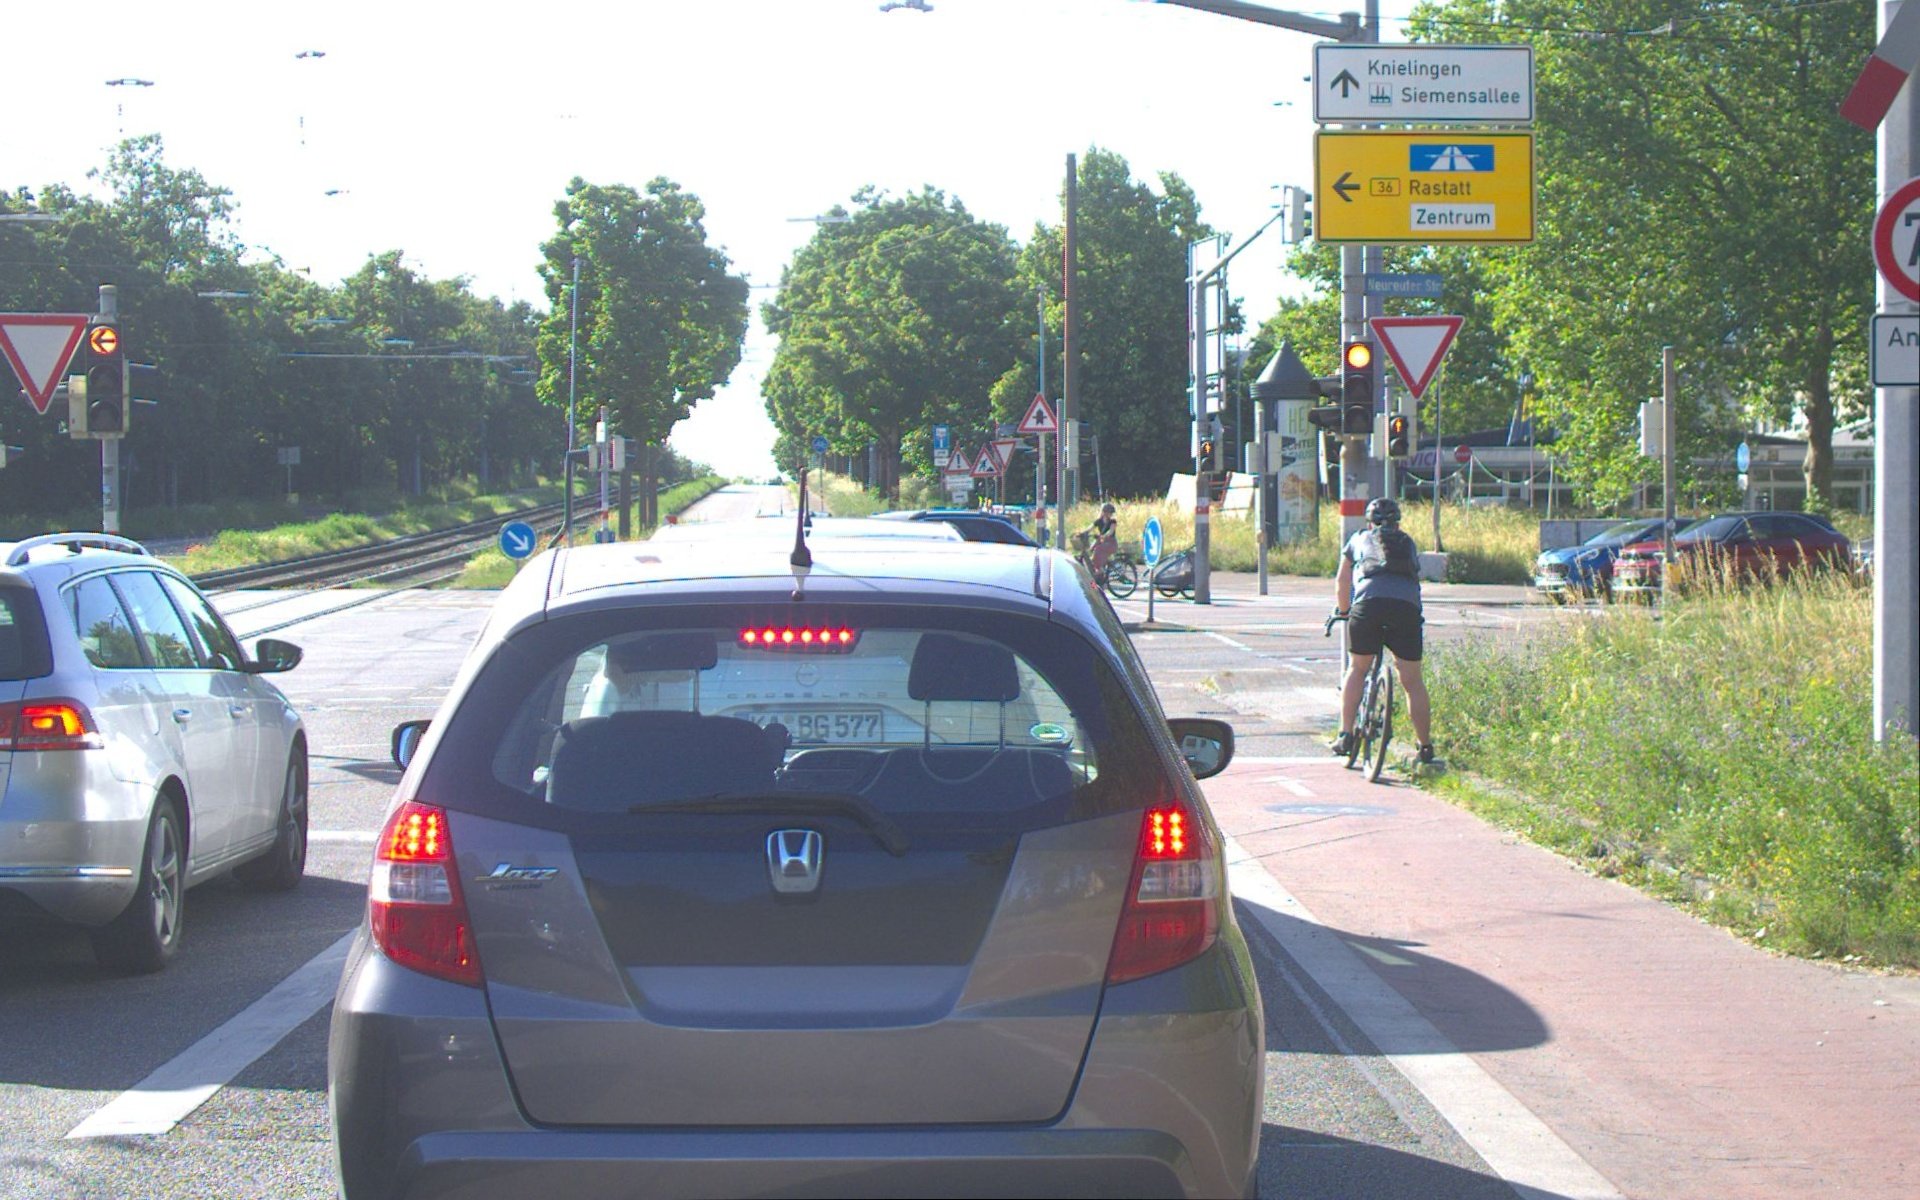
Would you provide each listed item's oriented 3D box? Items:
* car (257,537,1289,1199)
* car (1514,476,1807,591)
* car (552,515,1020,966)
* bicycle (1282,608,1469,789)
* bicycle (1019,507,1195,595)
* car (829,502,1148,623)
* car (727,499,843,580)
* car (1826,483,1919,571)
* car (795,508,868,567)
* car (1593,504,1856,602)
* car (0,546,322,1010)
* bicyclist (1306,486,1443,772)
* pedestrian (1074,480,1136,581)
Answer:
[{"bbox_3d":[-0.390,0.598,7.369,1.668,1.457,3.587,0,1,-3],"label":"car"},{"bbox_3d":[12.279,-1.147,60.261,4.686,1.873,2.001,1,1,-23],"label":"car"},{"bbox_3d":[-0.644,0.446,14.004,1.611,1.557,4.288,0,1,-1],"label":"car"},{"bbox_3d":[2.532,0.573,21.258,0.722,0.985,2.876,1,1,-1],"label":"bicycle"},{"bbox_3d":[2.700,-0.907,62.909,3.203,1.569,0.821,-1,1,-25],"label":"bicycle"},{"bbox_3d":[0.390,-0.520,45.782,3.970,1.539,1.592,-1,1,-30],"label":"car"},{"bbox_3d":[-3.288,-1.156,65.299,1.710,1.473,4.000,0,1,4],"label":"car"},{"bbox_3d":[17.909,-1.354,63.122,3.742,1.564,1.491,-1,1,-23],"label":"car"},{"bbox_3d":[-3.077,-1.488,81.675,1.522,1.374,3.677,0,1,-5],"label":"car"},{"bbox_3d":[12.451,-0.779,55.977,3.986,1.525,1.606,-1,1,-23],"label":"car"},{"bbox_3d":[-3.528,0.525,12.786,1.619,1.452,4.085,1,1,-1],"label":"car"},{"bbox_3d":[2.543,0.169,21.172,0.666,1.710,0.948,1,0,-1],"label":"bicyclist"},{"bbox_3d":[2.643,-1.273,62.889,0.852,1.830,0.791,-1,1,-26],"label":"pedestrian"}]
